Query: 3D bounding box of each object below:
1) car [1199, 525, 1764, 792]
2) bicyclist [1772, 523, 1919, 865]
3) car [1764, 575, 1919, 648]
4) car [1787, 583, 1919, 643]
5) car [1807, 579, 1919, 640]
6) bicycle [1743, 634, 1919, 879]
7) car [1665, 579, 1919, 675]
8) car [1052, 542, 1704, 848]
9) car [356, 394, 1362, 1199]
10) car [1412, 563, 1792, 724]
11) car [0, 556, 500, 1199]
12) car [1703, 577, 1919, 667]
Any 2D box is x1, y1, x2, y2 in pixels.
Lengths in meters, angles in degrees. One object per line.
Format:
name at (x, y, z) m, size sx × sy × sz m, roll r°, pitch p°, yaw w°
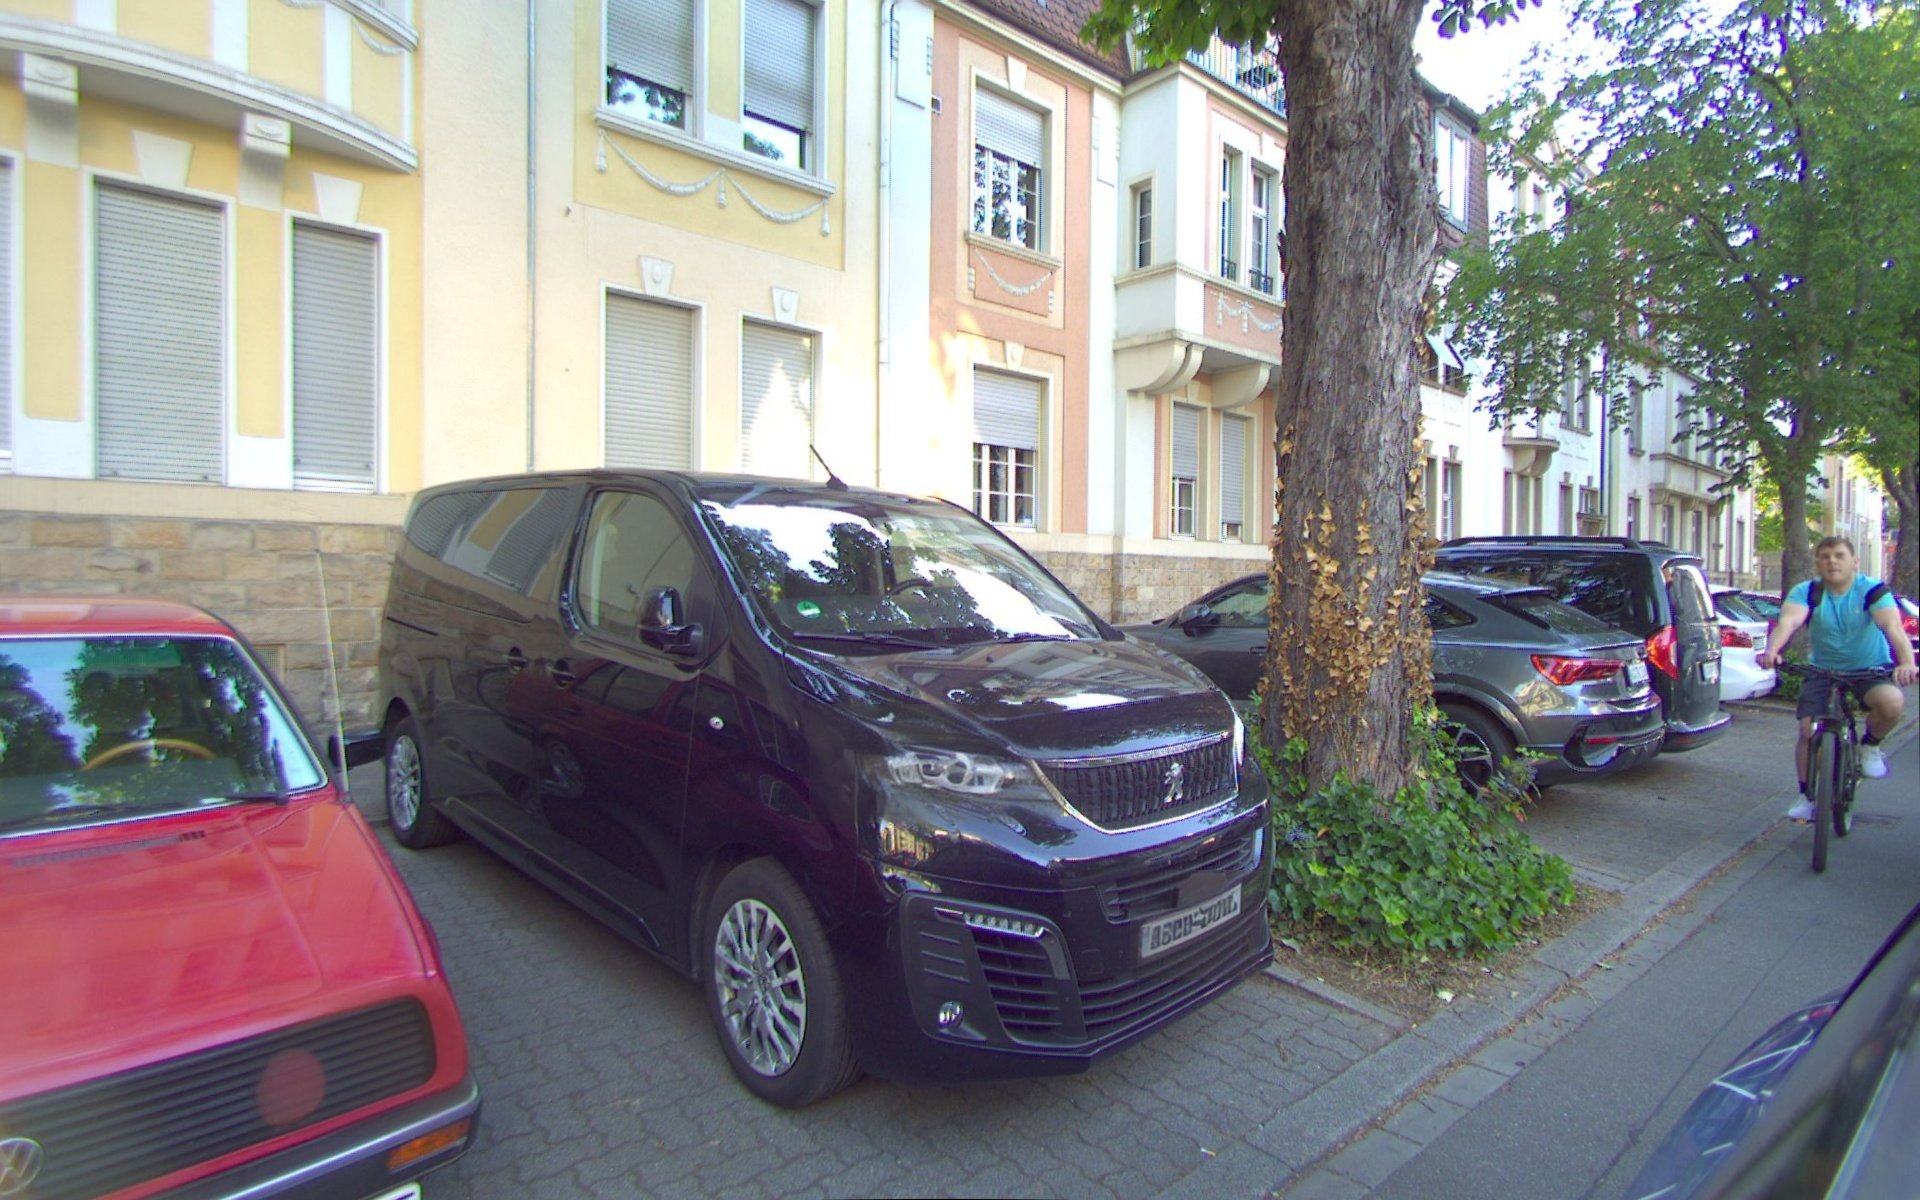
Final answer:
car at (4.387, 0.279, 9.035) m, size 1.569 × 1.849 × 4.165 m, roll -1°, pitch 4°, yaw -44°
bicyclist at (5.160, 0.489, 5.802) m, size 0.816 × 1.797 × 0.648 m, roll 0°, pitch 0°, yaw -41°
car at (21.618, 0.246, 24.085) m, size 1.511 × 1.584 × 3.621 m, roll 0°, pitch 2°, yaw -40°
car at (23.917, 0.331, 26.224) m, size 1.511 × 1.420 × 3.621 m, roll 0°, pitch 3°, yaw -40°
car at (25.919, 0.254, 27.971) m, size 1.511 × 1.584 × 3.621 m, roll 0°, pitch 2°, yaw -40°
bicycle at (5.228, 0.794, 5.845) m, size 1.978 × 1.132 × 0.743 m, roll 0°, pitch 0°, yaw -41°
car at (14.971, 0.405, 18.054) m, size 1.511 × 1.420 × 3.621 m, roll 0°, pitch 3°, yaw -40°
car at (2.789, 0.416, 7.504) m, size 1.569 × 1.611 × 4.165 m, roll -1°, pitch 4°, yaw -44°
car at (-0.995, 0.345, 4.524) m, size 1.851 × 1.846 × 4.825 m, roll -1°, pitch 4°, yaw -44°
car at (7.649, 0.392, 12.293) m, size 1.513 × 1.569 × 3.616 m, roll -1°, pitch 3°, yaw -45°
car at (-2.813, 0.581, 2.967) m, size 1.532 × 1.336 × 3.917 m, roll -1°, pitch 4°, yaw -43°
car at (16.860, 0.370, 19.663) m, size 1.511 × 1.482 × 3.621 m, roll 0°, pitch 3°, yaw -40°
